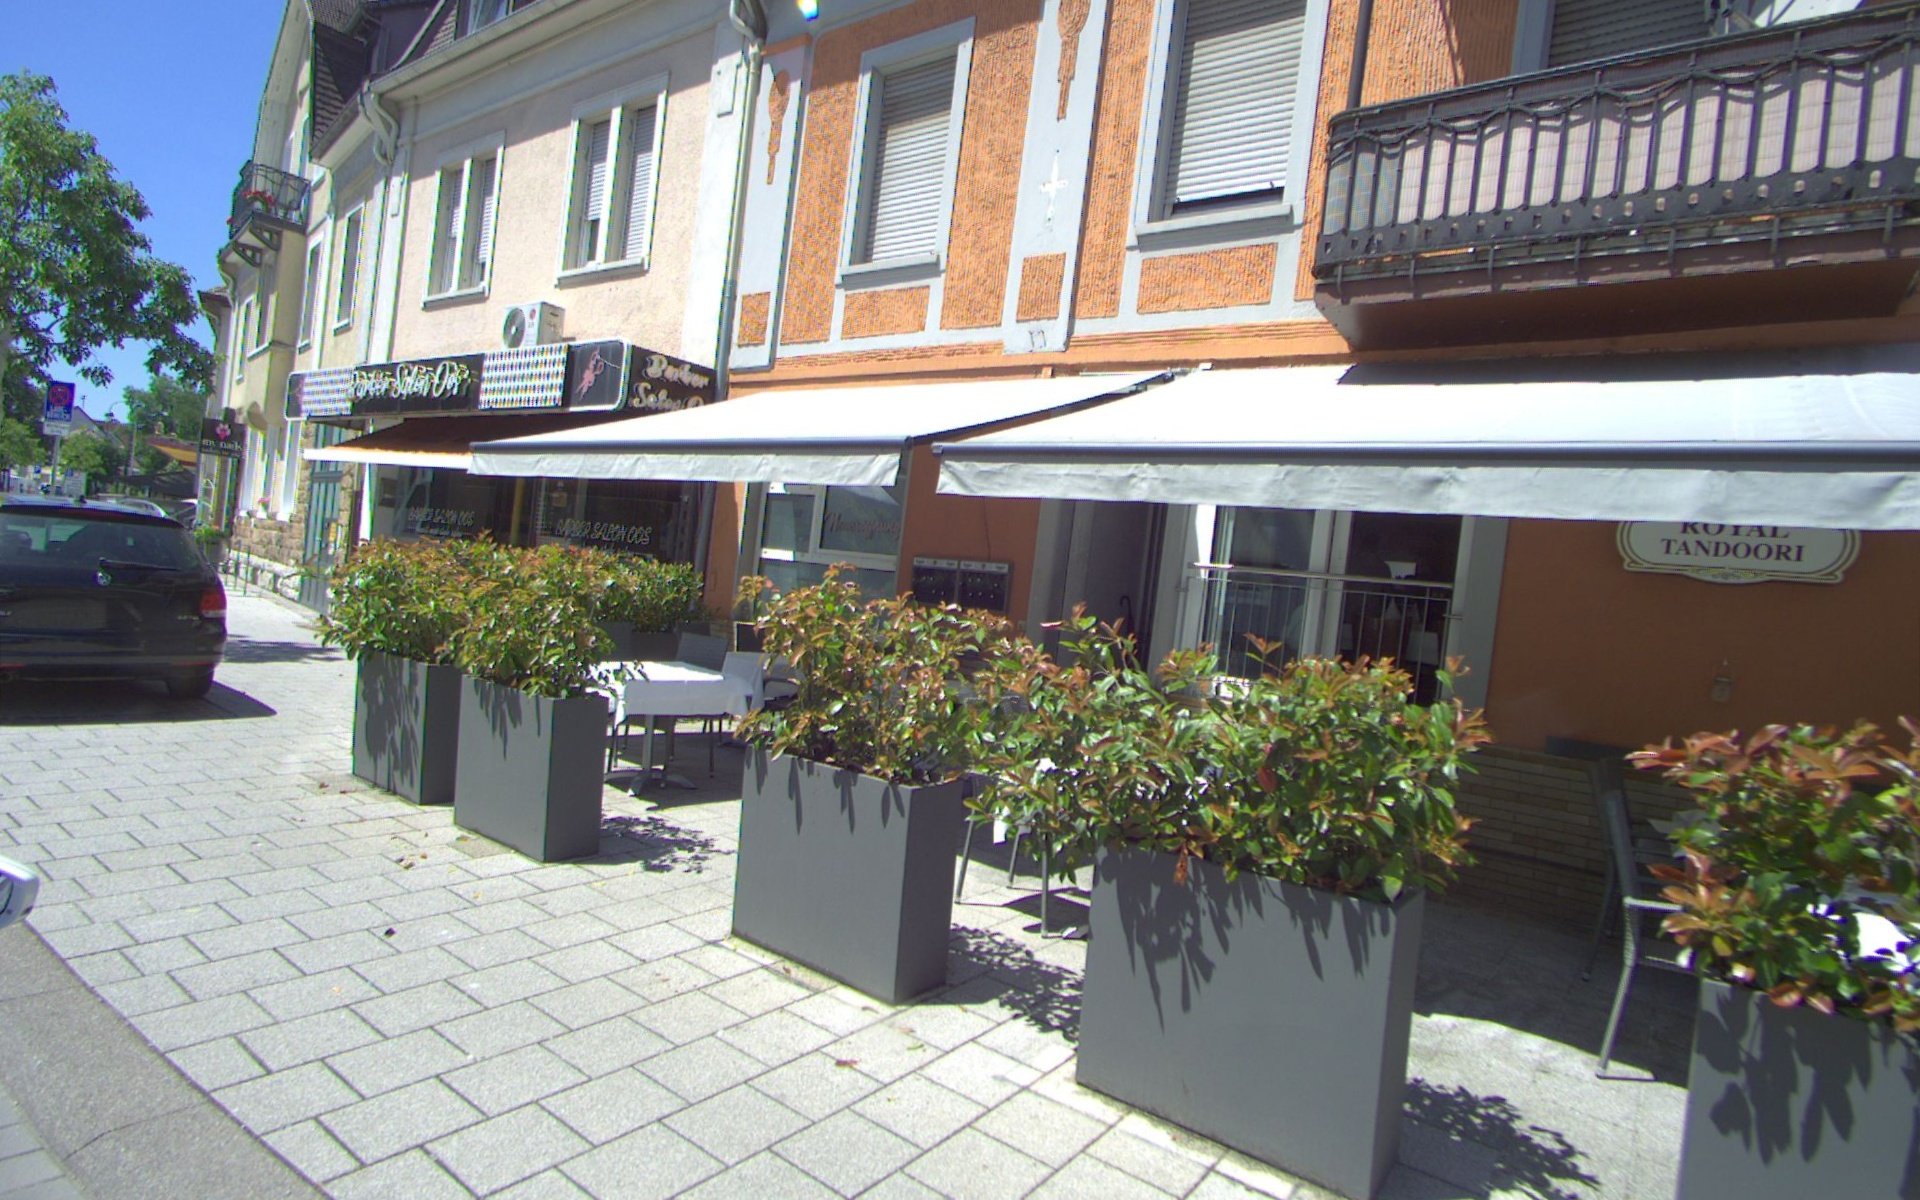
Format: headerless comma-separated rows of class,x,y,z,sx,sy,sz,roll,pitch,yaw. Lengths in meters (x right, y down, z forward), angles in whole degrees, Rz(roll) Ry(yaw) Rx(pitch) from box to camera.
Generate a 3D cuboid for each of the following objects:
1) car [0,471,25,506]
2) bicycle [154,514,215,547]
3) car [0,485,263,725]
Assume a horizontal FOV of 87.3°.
car,-62.616,-7.351,65.695,1.987,2.037,3.953,8,-1,-42
bicycle,-35.714,-3.183,46.365,2.033,1.192,0.885,8,-1,-33
car,-7.274,-0.108,7.917,3.939,1.505,1.748,6,2,37
